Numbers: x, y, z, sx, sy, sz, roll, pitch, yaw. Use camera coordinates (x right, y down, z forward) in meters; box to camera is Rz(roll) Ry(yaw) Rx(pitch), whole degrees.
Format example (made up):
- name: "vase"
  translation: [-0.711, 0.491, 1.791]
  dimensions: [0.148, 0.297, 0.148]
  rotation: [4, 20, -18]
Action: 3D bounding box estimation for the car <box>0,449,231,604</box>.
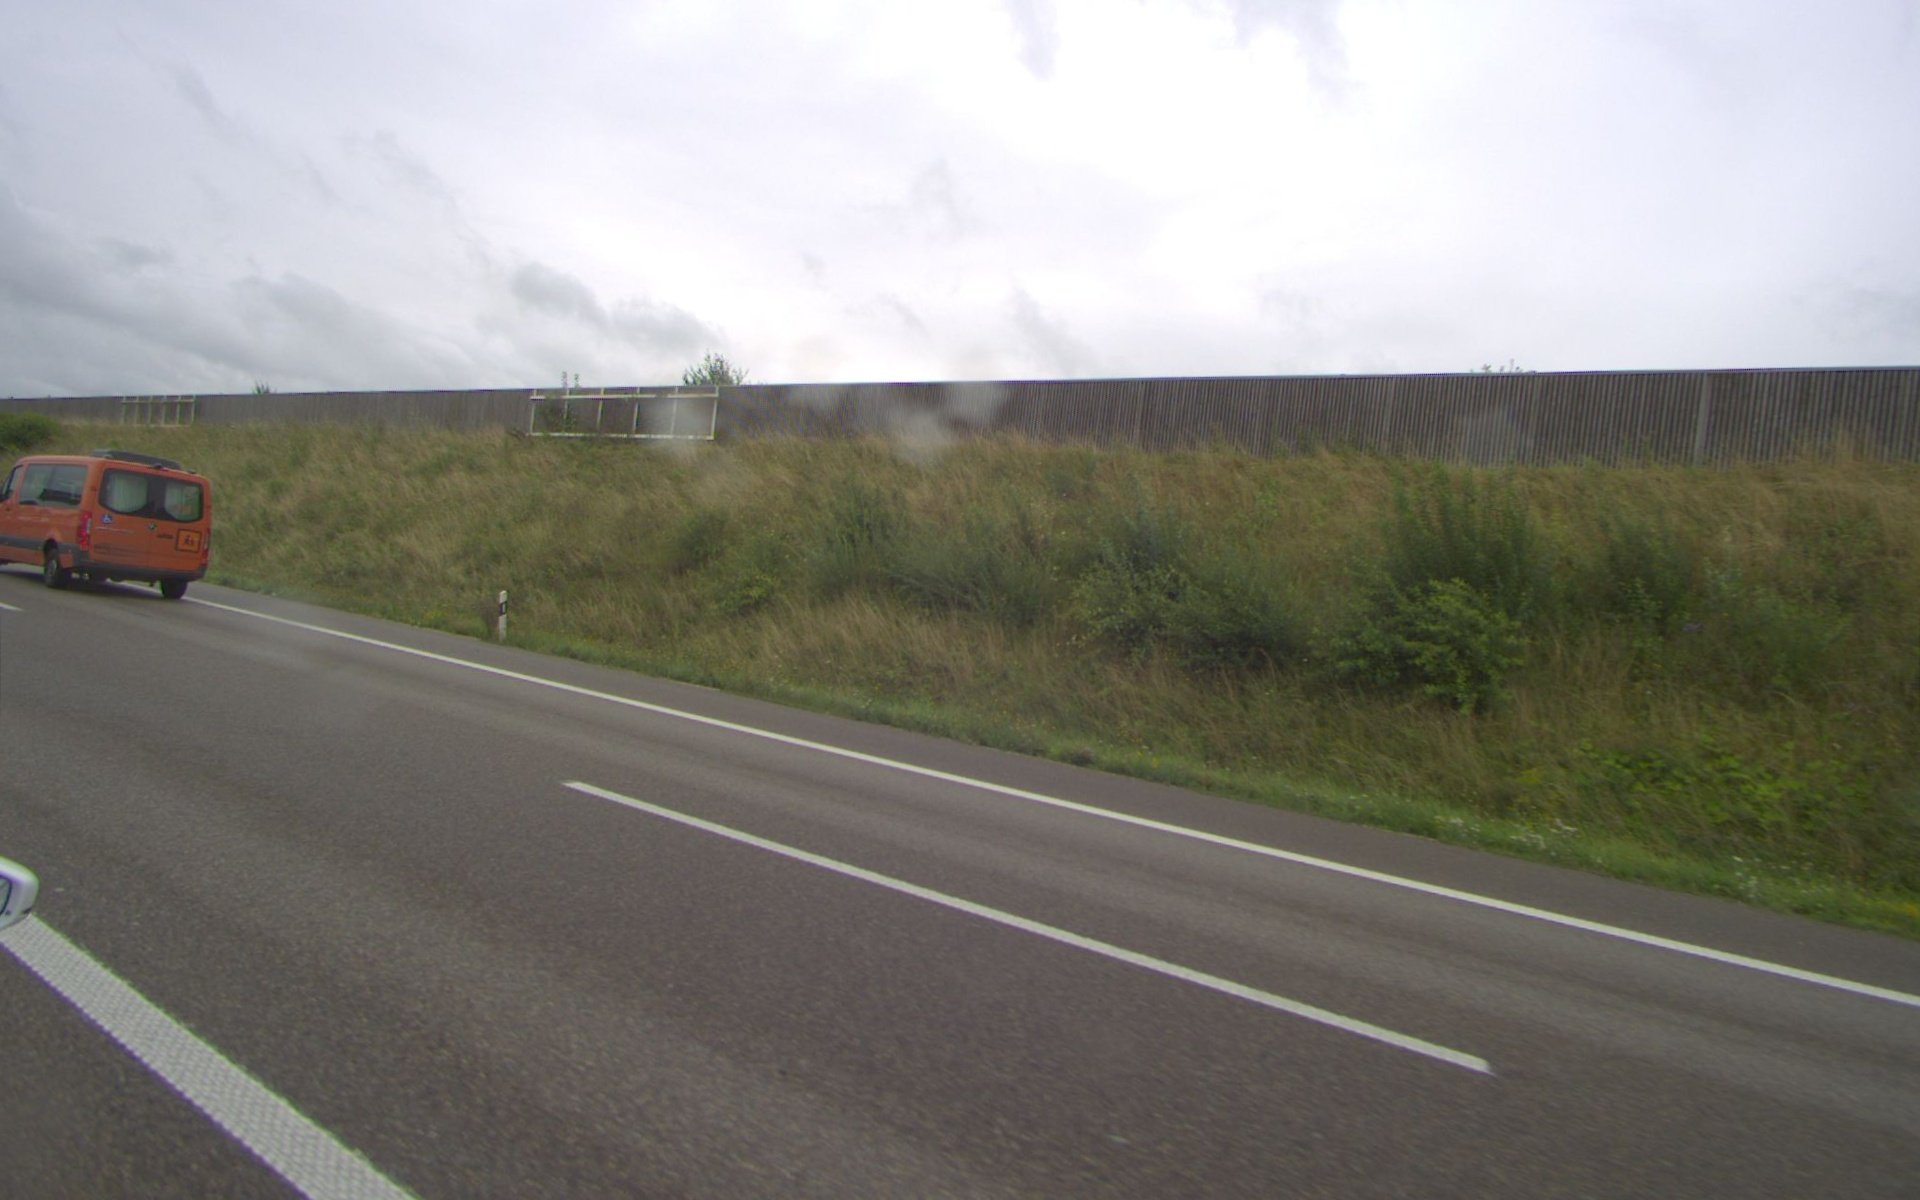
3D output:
- name: "car"
  translation: [-16.735, -1.486, 19.291]
  dimensions: [6.078, 2.343, 2.089]
  rotation: [7, 0, 31]
